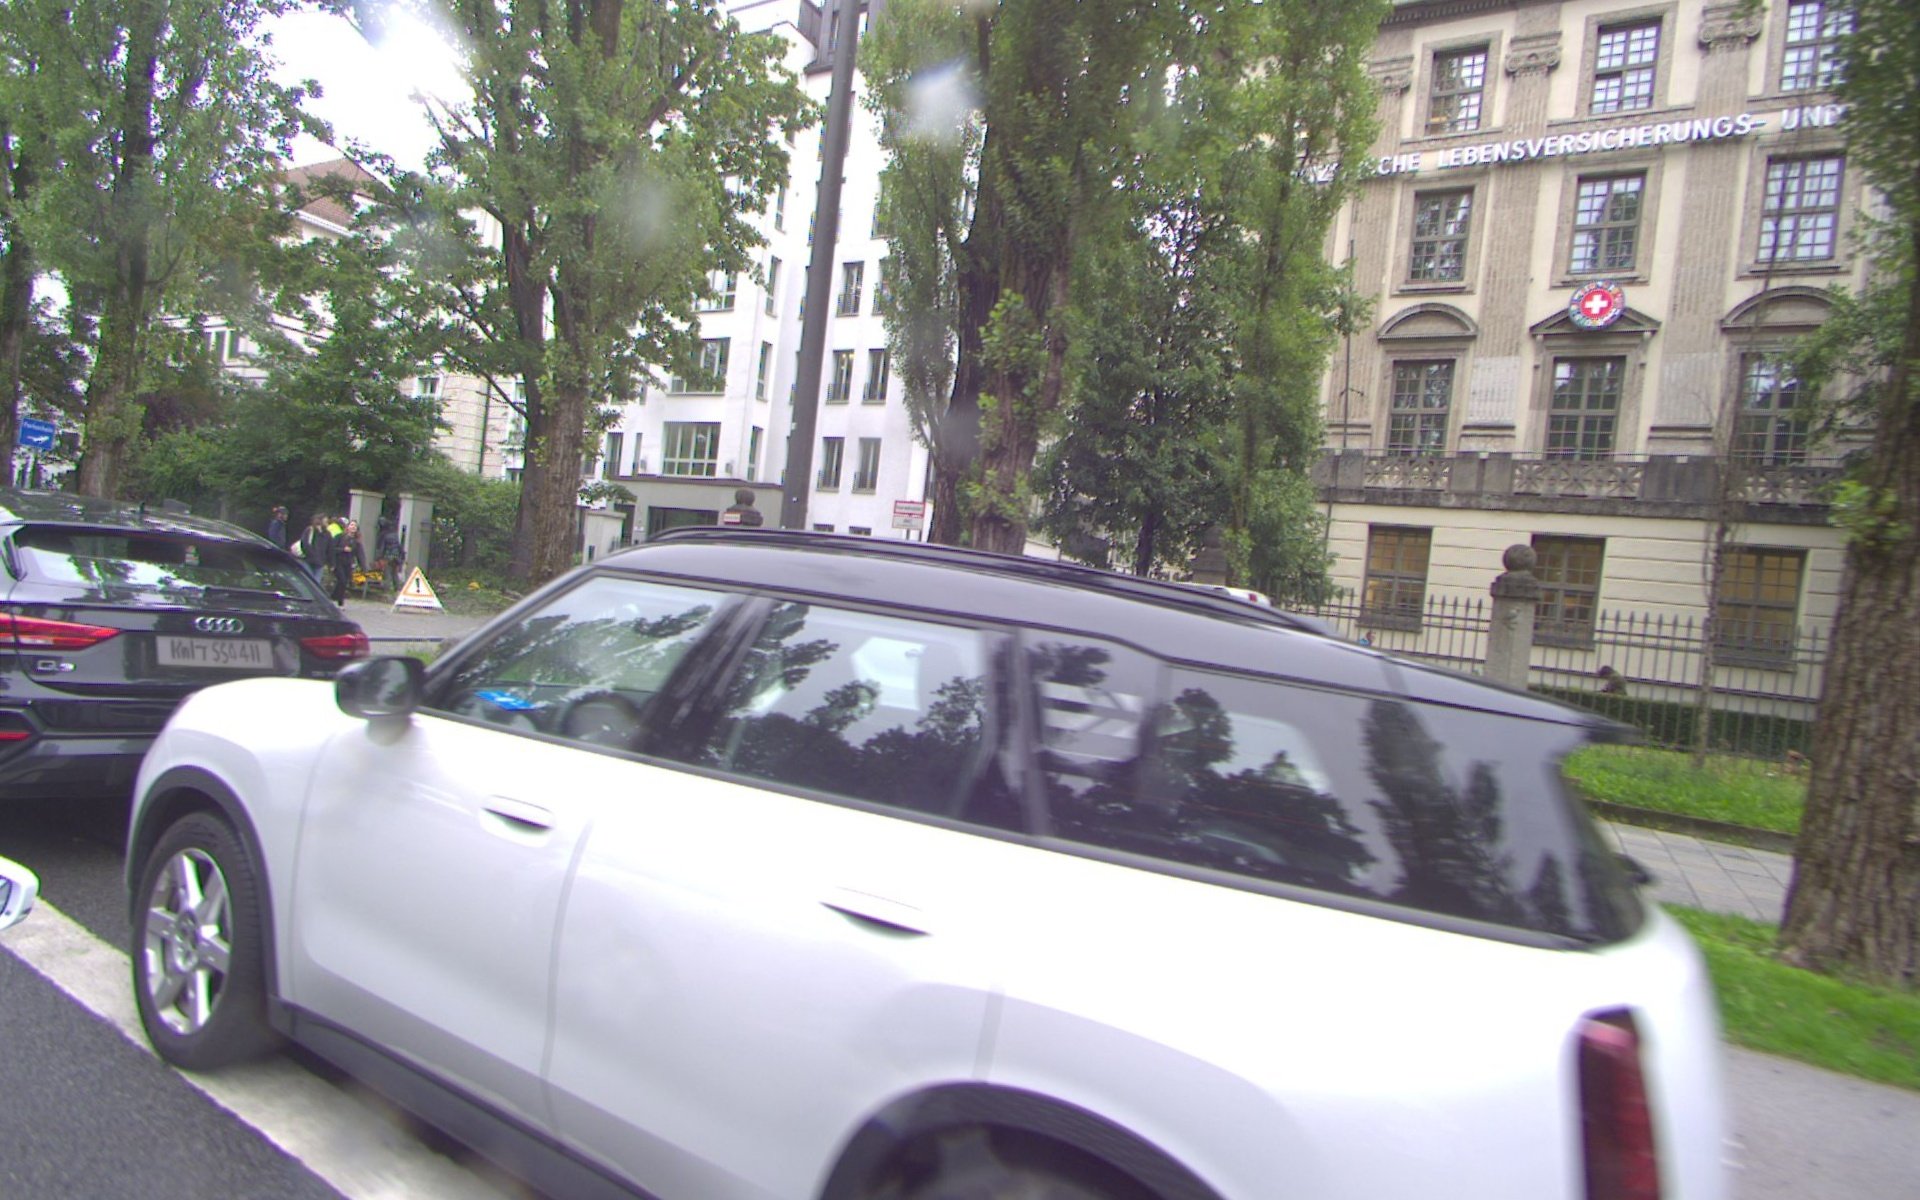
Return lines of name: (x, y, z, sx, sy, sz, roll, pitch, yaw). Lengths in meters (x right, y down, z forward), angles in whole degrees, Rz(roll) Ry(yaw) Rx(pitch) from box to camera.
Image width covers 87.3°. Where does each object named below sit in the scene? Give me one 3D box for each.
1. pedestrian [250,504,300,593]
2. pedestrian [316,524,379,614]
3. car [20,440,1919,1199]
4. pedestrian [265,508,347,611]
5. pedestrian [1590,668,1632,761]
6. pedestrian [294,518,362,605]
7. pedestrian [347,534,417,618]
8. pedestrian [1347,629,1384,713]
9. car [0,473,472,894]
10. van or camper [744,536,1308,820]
pedestrian: (-15.288, -1.140, 22.468, 0.626, 1.886, 0.488, 6, 1, 14)
pedestrian: (-11.623, -0.584, 19.090, 0.853, 1.598, 0.568, 7, 1, 30)
car: (-0.565, 0.624, 2.811, 4.503, 1.696, 1.745, 7, 0, 31)
pedestrian: (-11.858, -0.726, 18.259, 0.853, 1.739, 0.854, 7, 2, 30)
pedestrian: (13.705, 2.394, 21.184, 0.495, 1.886, 0.637, 7, 1, 28)
pedestrian: (-14.051, -0.844, 22.384, 0.805, 1.804, 0.802, 6, 1, 14)
pedestrian: (-13.416, -0.538, 23.377, 0.814, 1.823, 0.904, 9, 2, 10)
pedestrian: (9.478, 1.650, 23.543, 0.592, 1.886, 0.638, 7, 1, 22)
car: (-4.950, 0.157, 5.561, 4.390, 1.560, 1.882, 7, 0, 31)
van or camper: (0.546, 0.633, 10.378, 5.279, 1.956, 2.080, 7, -1, 31)
